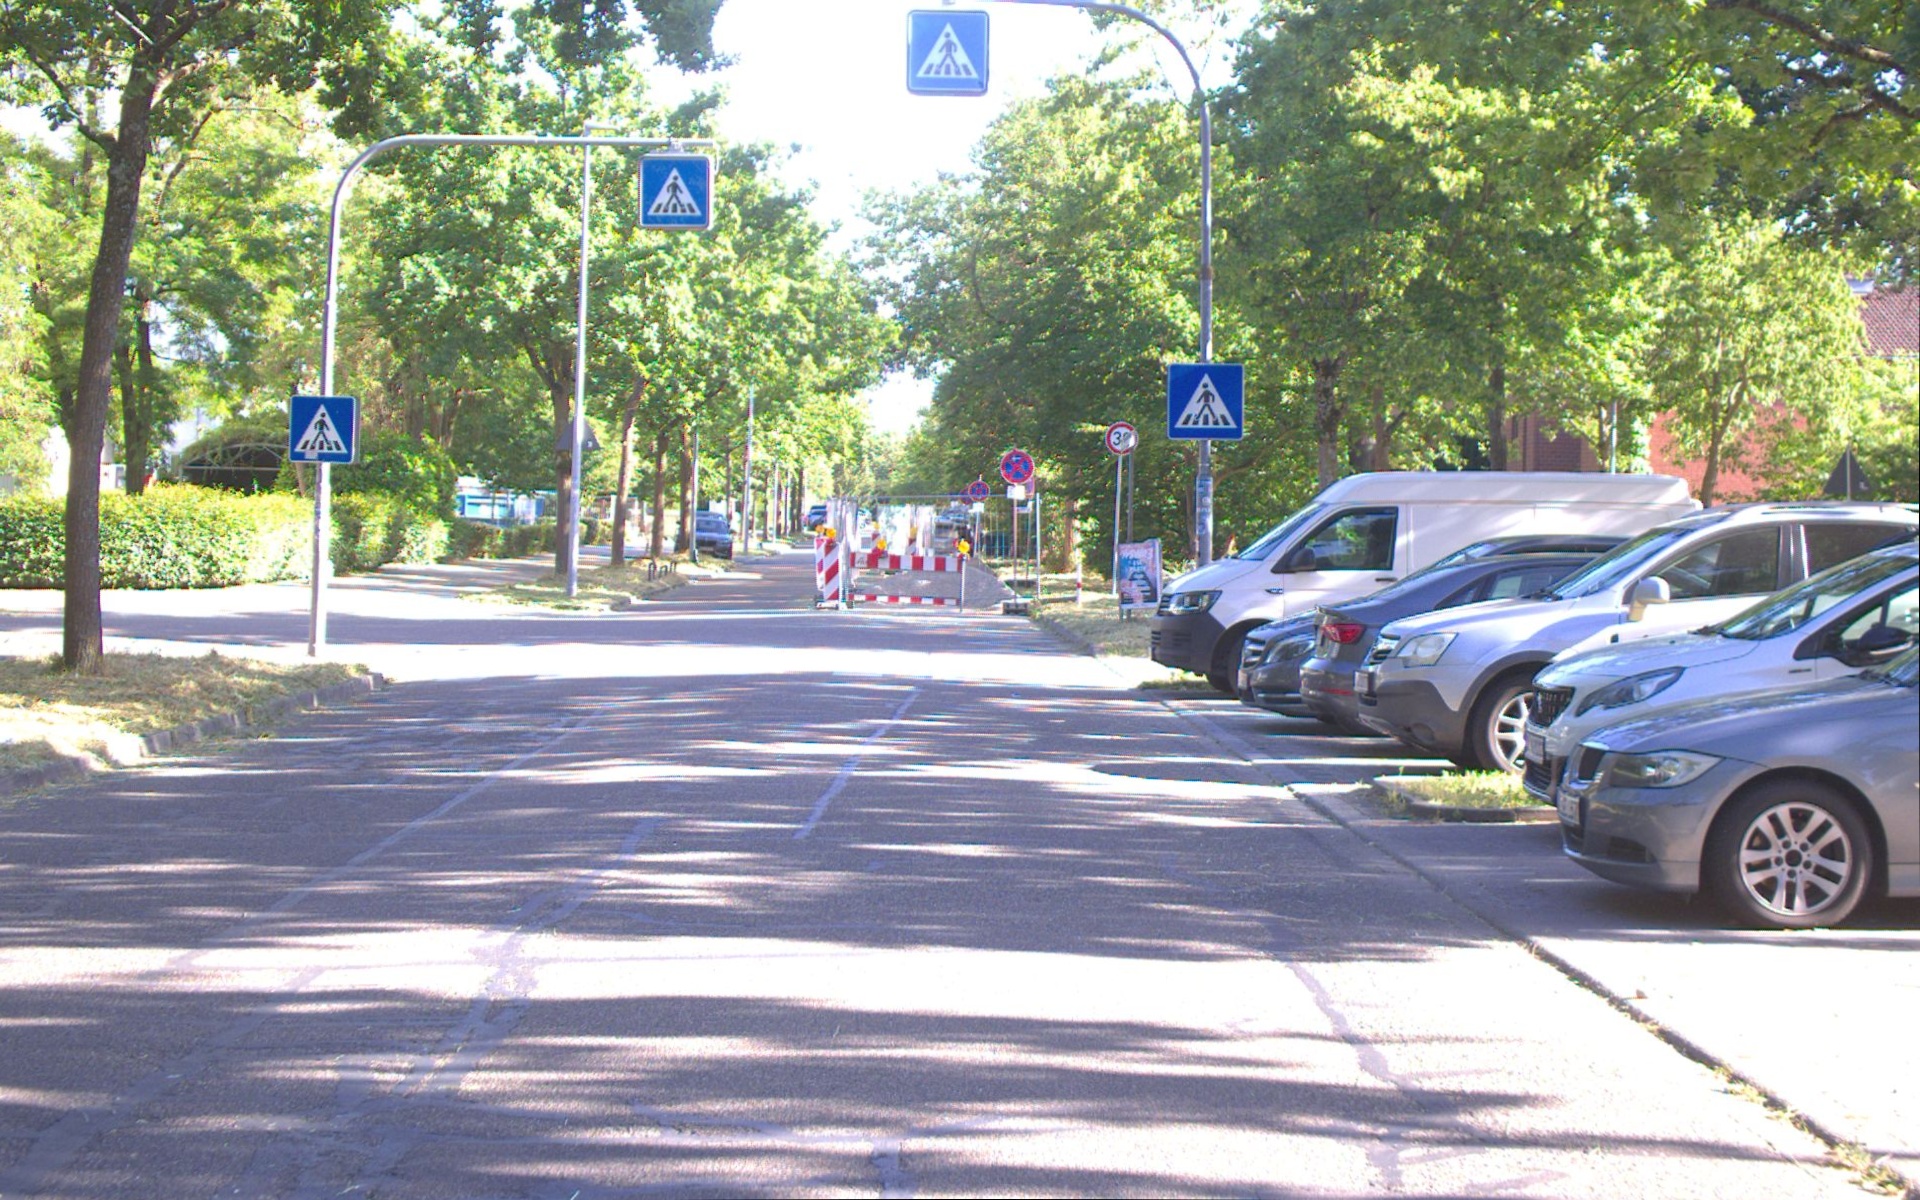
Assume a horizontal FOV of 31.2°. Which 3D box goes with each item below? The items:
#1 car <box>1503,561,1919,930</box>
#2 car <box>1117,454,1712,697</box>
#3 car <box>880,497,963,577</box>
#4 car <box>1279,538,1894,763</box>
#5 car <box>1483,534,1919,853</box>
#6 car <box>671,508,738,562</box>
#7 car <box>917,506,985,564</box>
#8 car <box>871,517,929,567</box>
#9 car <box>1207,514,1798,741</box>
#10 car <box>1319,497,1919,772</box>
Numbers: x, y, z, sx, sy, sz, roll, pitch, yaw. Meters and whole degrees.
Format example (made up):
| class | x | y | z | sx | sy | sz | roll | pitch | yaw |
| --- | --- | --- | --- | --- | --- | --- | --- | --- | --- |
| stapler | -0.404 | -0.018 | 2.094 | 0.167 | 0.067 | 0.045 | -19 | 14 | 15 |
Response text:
| class | x | y | z | sx | sy | sz | roll | pitch | yaw |
| --- | --- | --- | --- | --- | --- | --- | --- | --- | --- |
| car | 4.633 | 0.568 | 14.188 | 4.445 | 1.385 | 1.911 | 1 | 1 | -1 |
| car | 4.156 | -0.234 | 32.089 | 5.186 | 2.098 | 2.083 | 1 | 1 | -2 |
| car | -1.005 | -1.625 | 87.865 | 1.993 | 1.926 | 4.000 | 2 | 1 | -1 |
| car | 4.342 | 0.328 | 24.325 | 3.987 | 1.428 | 1.901 | 1 | 1 | 1 |
| car | 4.695 | 0.421 | 17.107 | 3.884 | 1.492 | 1.777 | 0 | 1 | -1 |
| car | -8.525 | -2.173 | 114.891 | 1.993 | 1.711 | 4.000 | 2 | 1 | -1 |
| car | -0.295 | -2.061 | 108.815 | 1.993 | 1.711 | 4.000 | 2 | 1 | -1 |
| car | -2.199 | -2.118 | 124.557 | 1.993 | 1.711 | 4.000 | 2 | 1 | -1 |
| car | 4.165 | 0.186 | 26.889 | 4.212 | 1.563 | 1.934 | 2 | 1 | -2 |
| car | 4.591 | 0.180 | 21.739 | 4.384 | 1.645 | 1.851 | 0 | 1 | -2 |
